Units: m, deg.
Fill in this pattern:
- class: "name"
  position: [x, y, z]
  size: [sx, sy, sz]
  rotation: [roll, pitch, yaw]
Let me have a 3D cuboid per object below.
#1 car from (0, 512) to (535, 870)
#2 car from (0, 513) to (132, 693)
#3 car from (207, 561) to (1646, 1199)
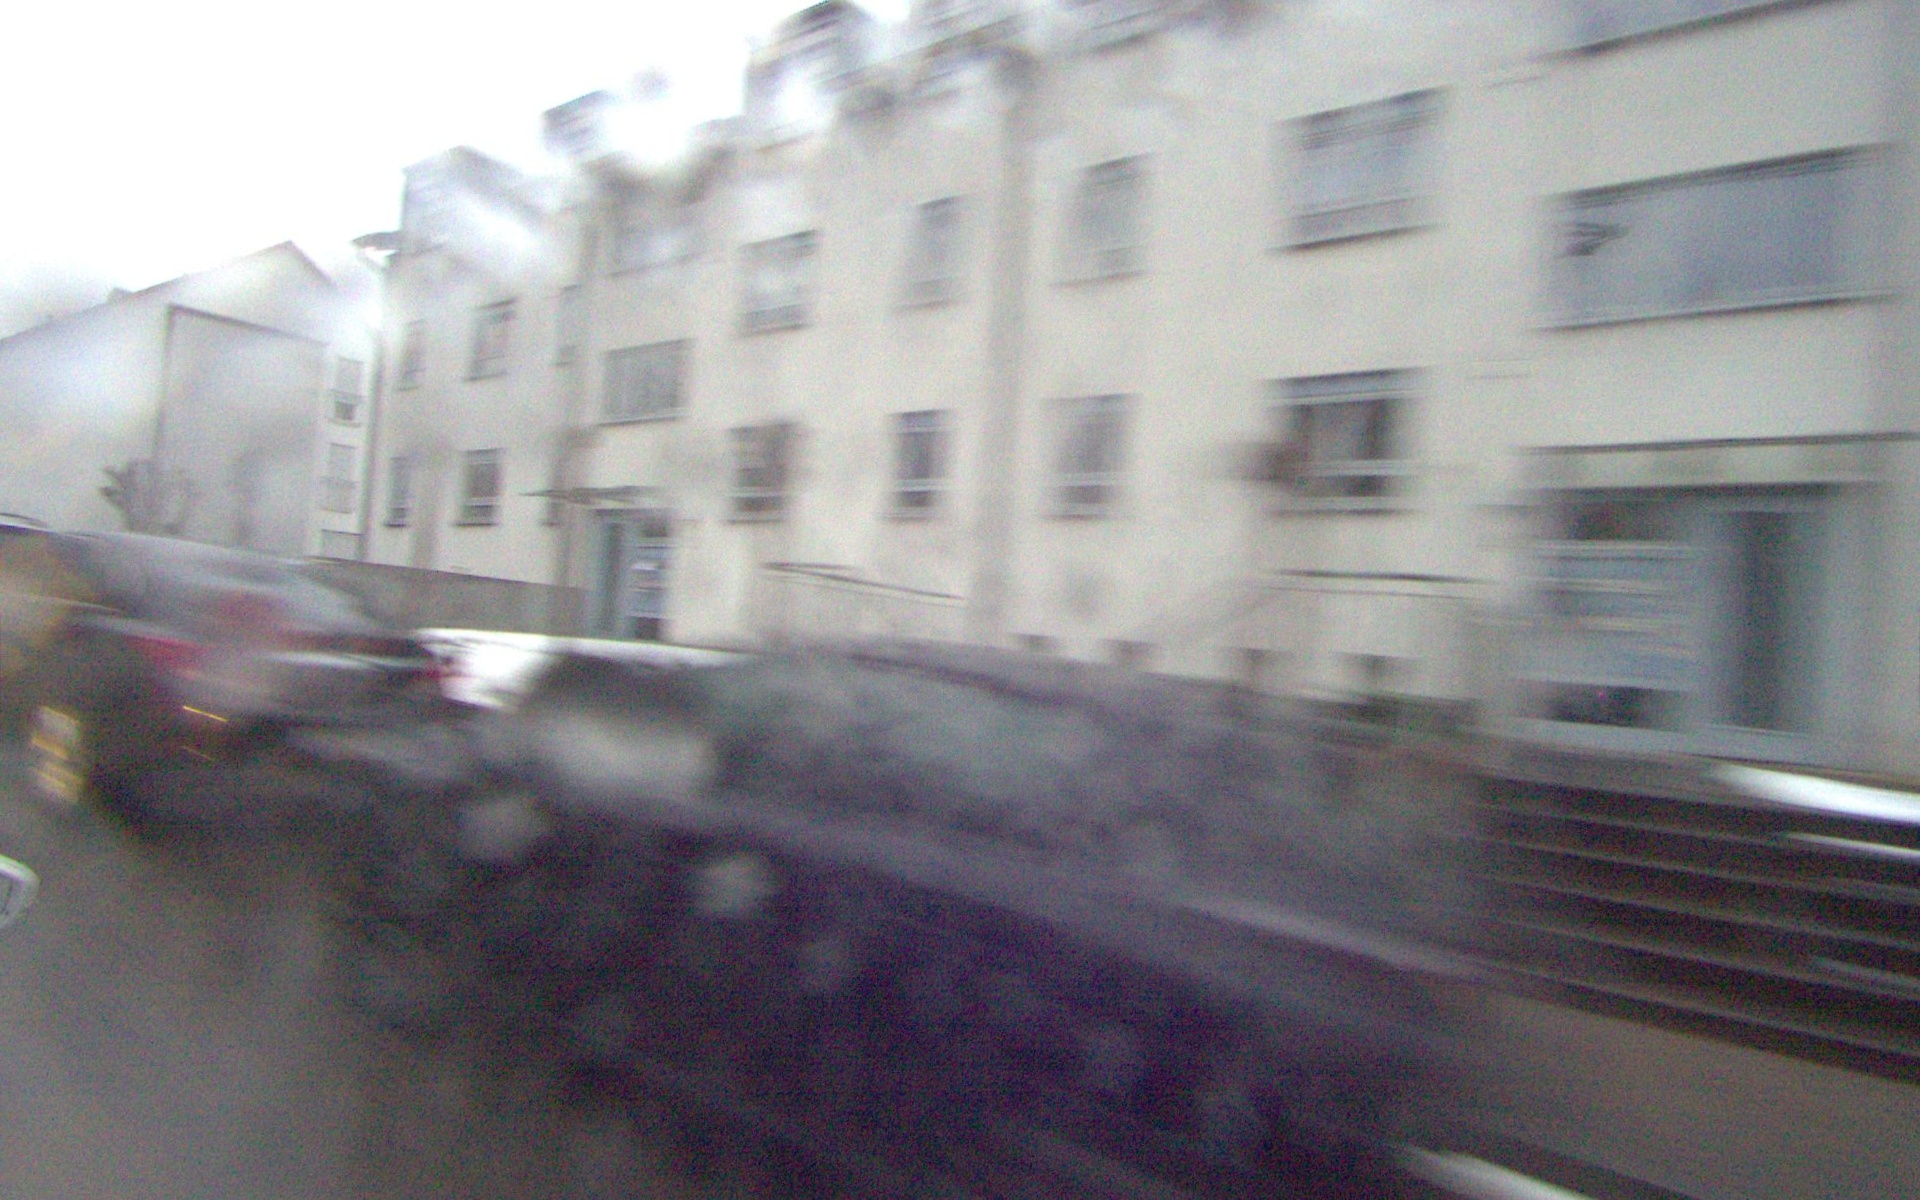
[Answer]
- class: "car"
  position: [-4.826, 0.343, 6.173]
  size: [4.489, 1.445, 1.659]
  rotation: [5, -3, 32]
- class: "car"
  position: [-9.791, -0.171, 9.385]
  size: [4.383, 1.445, 1.742]
  rotation: [5, -3, 32]
- class: "car"
  position: [-0.507, 0.796, 3.392]
  size: [4.458, 1.407, 1.658]
  rotation: [5, -1, 32]
